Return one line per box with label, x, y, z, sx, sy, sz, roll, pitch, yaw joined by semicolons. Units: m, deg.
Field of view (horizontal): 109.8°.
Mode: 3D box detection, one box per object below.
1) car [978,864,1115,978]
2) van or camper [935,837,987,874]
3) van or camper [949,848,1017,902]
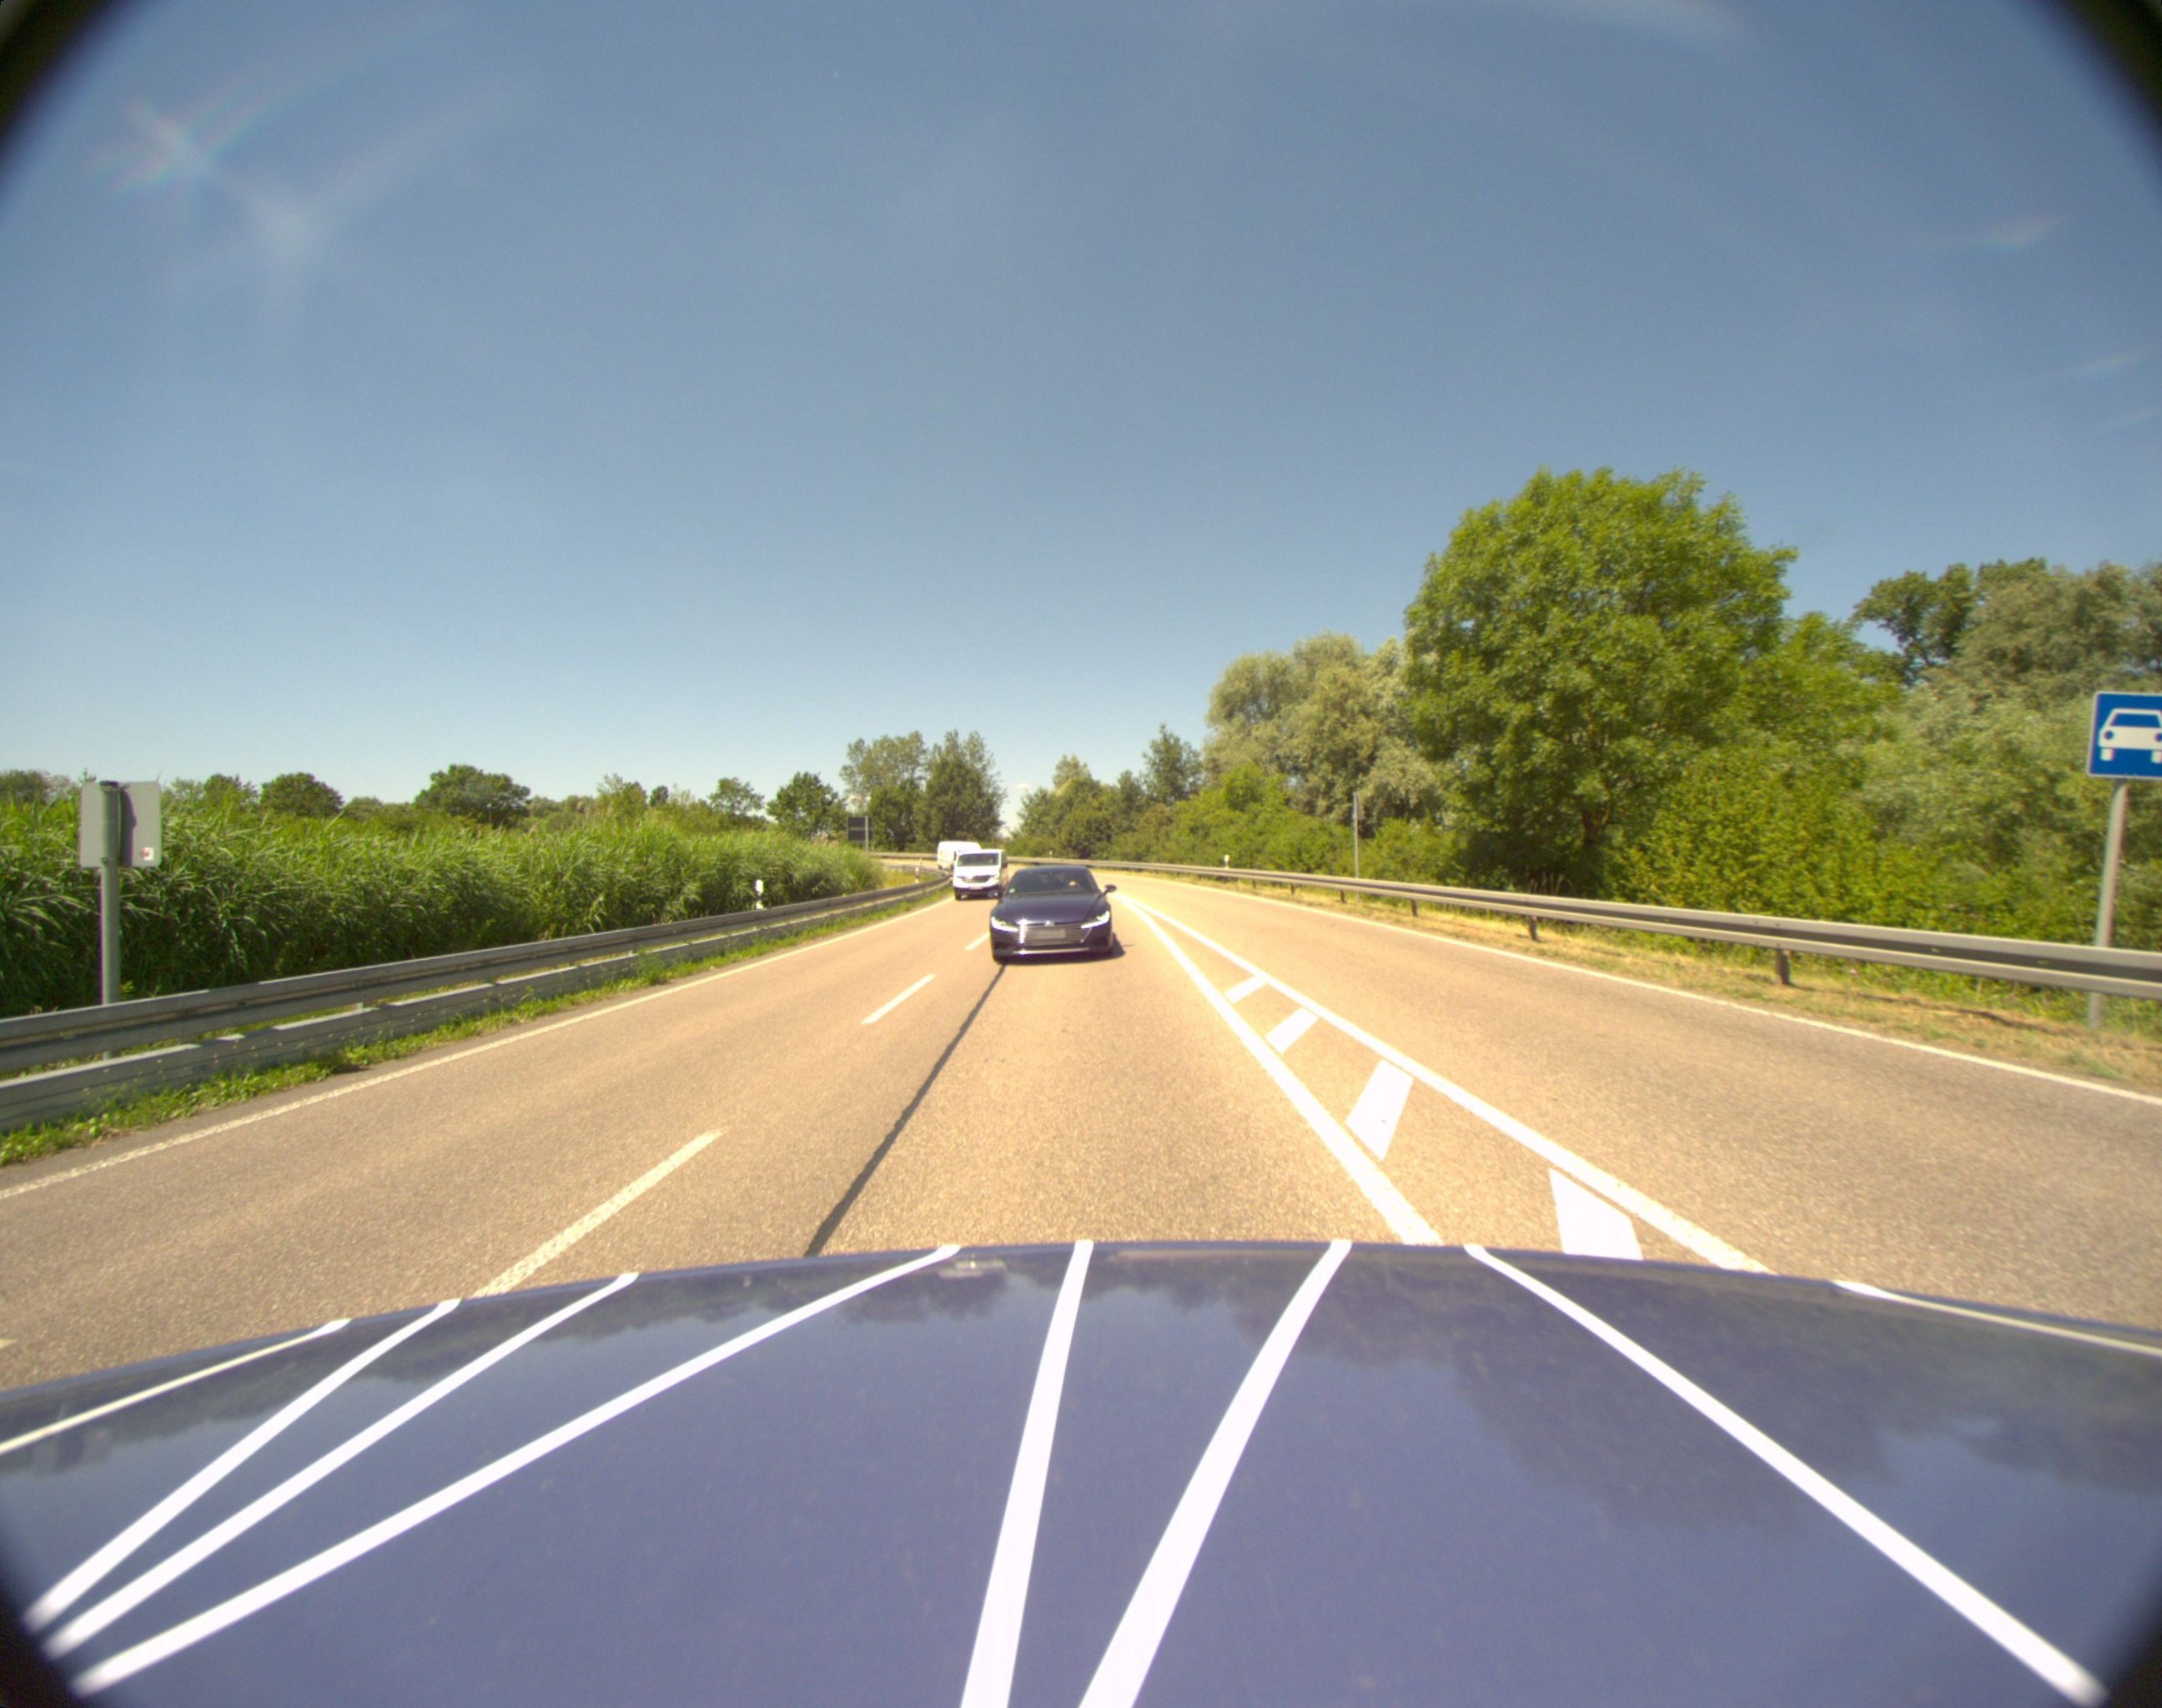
car;-0.422;0.959;12.807;1.843;1.422;4.533;-2;0;1
van or camper;-8.982;0.050;56.491;2.078;2.540;6.034;-2;2;-26
van or camper;-4.001;0.798;31.903;2.008;2.019;5.448;-2;0;0
